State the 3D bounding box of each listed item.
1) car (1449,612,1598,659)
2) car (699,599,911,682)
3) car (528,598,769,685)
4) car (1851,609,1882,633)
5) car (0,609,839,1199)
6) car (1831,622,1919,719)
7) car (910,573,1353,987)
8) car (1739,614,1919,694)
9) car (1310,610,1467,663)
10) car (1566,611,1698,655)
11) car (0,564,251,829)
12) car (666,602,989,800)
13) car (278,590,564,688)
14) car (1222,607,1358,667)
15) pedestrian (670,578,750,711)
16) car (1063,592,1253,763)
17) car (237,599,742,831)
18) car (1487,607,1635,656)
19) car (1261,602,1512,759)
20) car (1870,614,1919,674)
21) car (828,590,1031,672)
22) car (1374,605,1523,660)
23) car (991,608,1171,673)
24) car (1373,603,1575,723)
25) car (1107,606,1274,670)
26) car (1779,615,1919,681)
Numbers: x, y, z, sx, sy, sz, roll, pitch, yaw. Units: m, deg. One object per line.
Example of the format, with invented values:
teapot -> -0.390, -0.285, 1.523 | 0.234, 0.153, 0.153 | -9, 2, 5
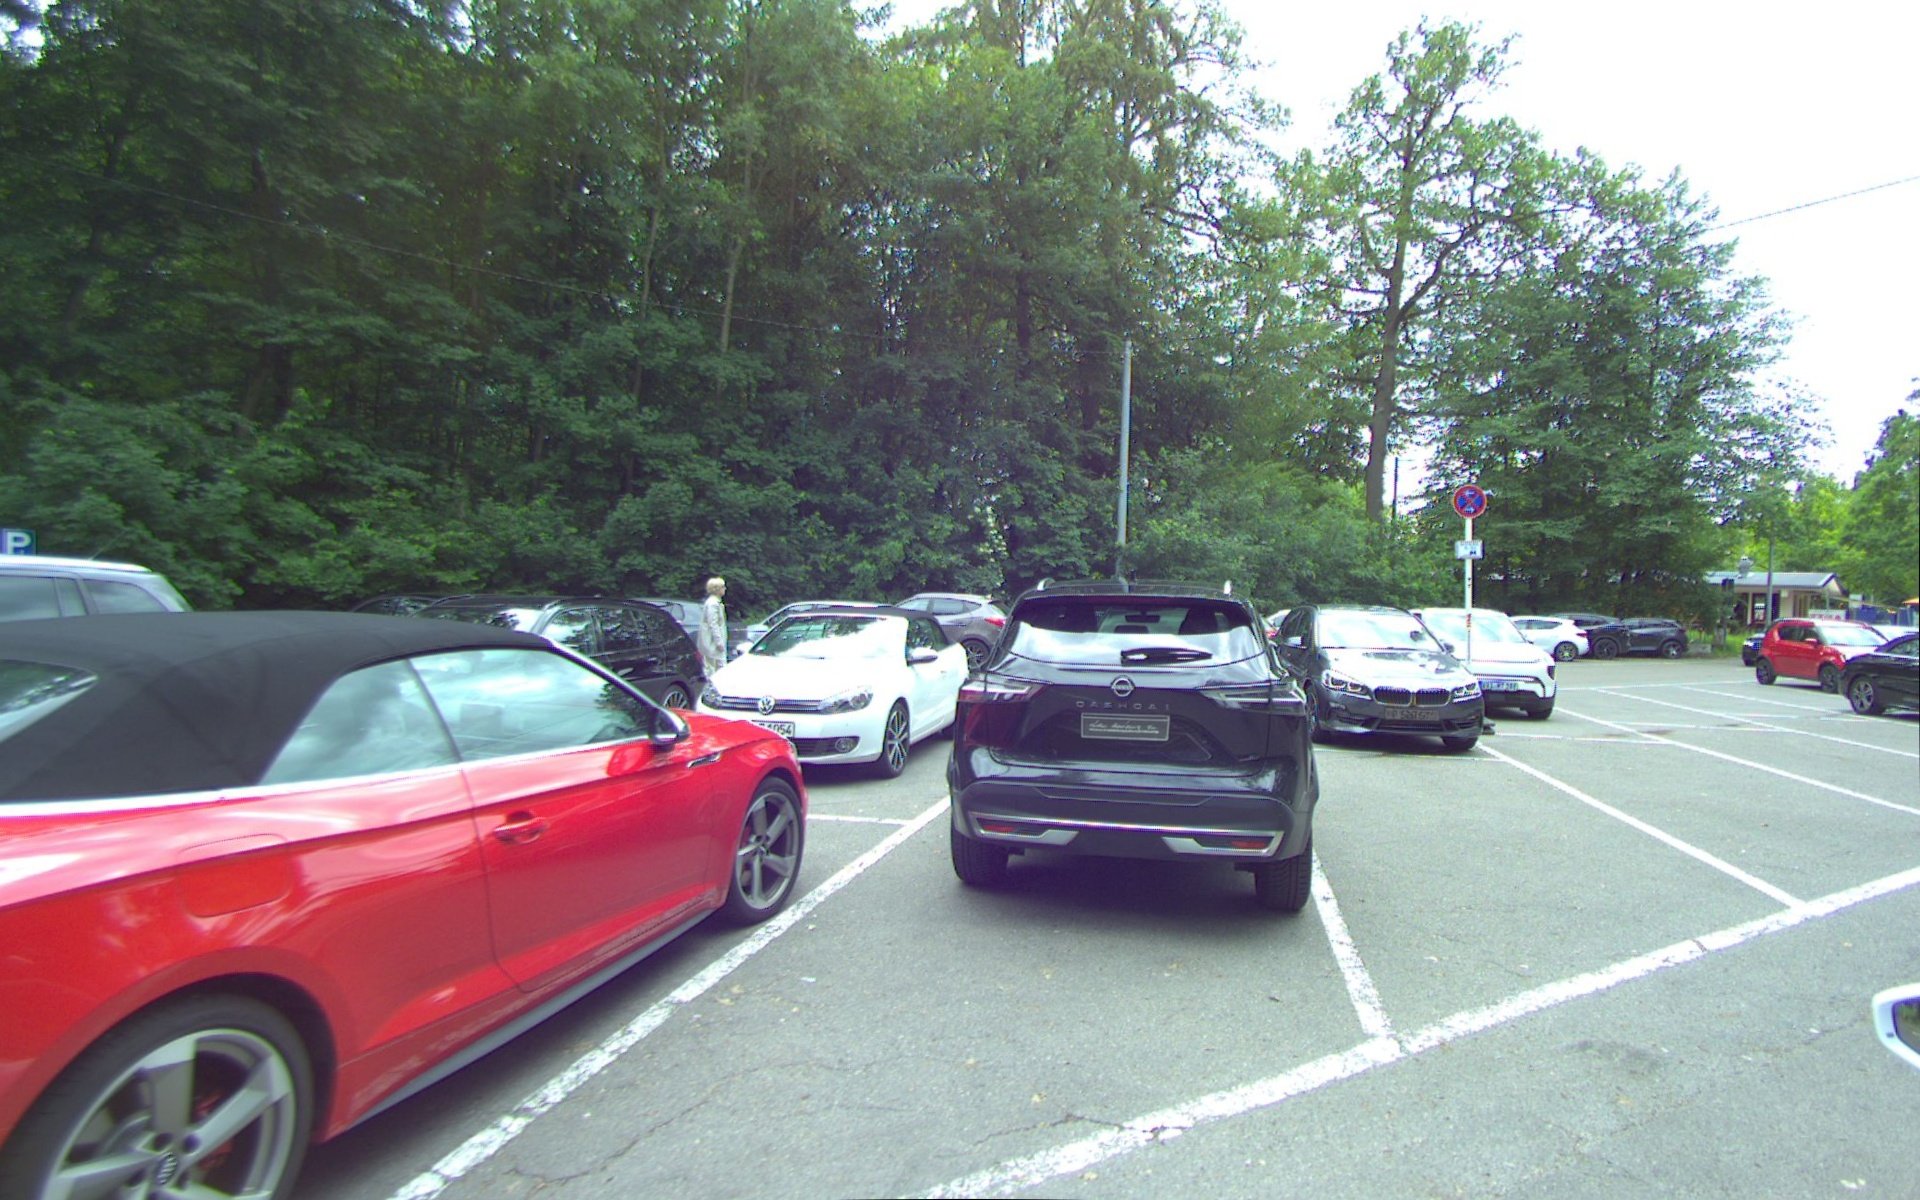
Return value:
car -> 18.881, 1.159, 33.850 | 4.037, 1.458, 1.870 | 1, 0, 18
car -> -3.183, 0.790, 20.809 | 3.921, 1.486, 1.835 | 2, 0, 19
car -> -5.846, 0.733, 19.030 | 3.919, 1.441, 1.911 | 1, 0, 14
car -> 80.737, 1.892, 89.471 | 1.971, 2.040, 3.978 | 2, 0, 42
car -> -2.016, 0.776, 3.302 | 1.733, 1.413, 4.394 | 1, 0, 14
car -> 15.700, 1.131, 15.233 | 1.831, 1.461, 4.319 | 1, 0, 11
car -> 1.112, 0.740, 6.287 | 1.860, 1.685, 4.002 | 1, 0, 12
car -> 20.038, 1.171, 23.264 | 1.652, 1.606, 3.656 | 1, 0, 11
car -> 12.818, 1.075, 30.336 | 4.211, 1.432, 1.928 | 1, 0, 19
car -> 25.183, 1.207, 37.769 | 3.715, 1.512, 1.700 | 1, 0, 13
car -> -6.890, 0.580, 5.880 | 1.792, 1.630, 4.390 | 1, 0, 13
car -> -1.010, 0.767, 9.652 | 1.737, 1.463, 3.848 | 1, 0, 15
car -> -9.154, 0.609, 17.157 | 4.120, 1.482, 1.900 | 1, 0, 15
car -> 9.252, 1.004, 28.363 | 3.511, 1.525, 1.735 | 1, 0, 17
pedestrian -> -3.437, 0.594, 13.804 | 0.886, 1.748, 0.758 | 1, 0, -30
car -> 2.412, 0.765, 11.882 | 1.810, 1.608, 3.979 | 2, 0, 14
car -> -3.618, 0.746, 8.742 | 1.724, 1.463, 4.281 | 1, 0, 12
car -> 21.373, 1.098, 35.887 | 4.118, 1.601, 1.959 | 1, 0, 12
car -> 5.028, 0.836, 12.468 | 1.835, 1.575, 4.002 | 1, 0, 7
car -> 26.000, 1.172, 26.151 | 1.794, 1.543, 4.101 | 1, 0, 17
car -> -0.645, 0.661, 22.660 | 4.176, 1.658, 1.966 | 1, 0, 15
car -> 15.540, 1.002, 32.192 | 4.037, 1.639, 1.842 | 1, 0, 18
car -> 2.994, 0.941, 24.530 | 4.176, 1.396, 1.966 | 1, 0, 12
car -> 8.075, 0.889, 16.211 | 1.809, 1.618, 4.192 | 1, 0, 12
car -> 6.019, 0.947, 26.281 | 4.102, 1.477, 1.805 | 1, 0, 15
car -> 23.248, 1.174, 25.722 | 1.839, 1.503, 4.002 | 1, 0, 12
